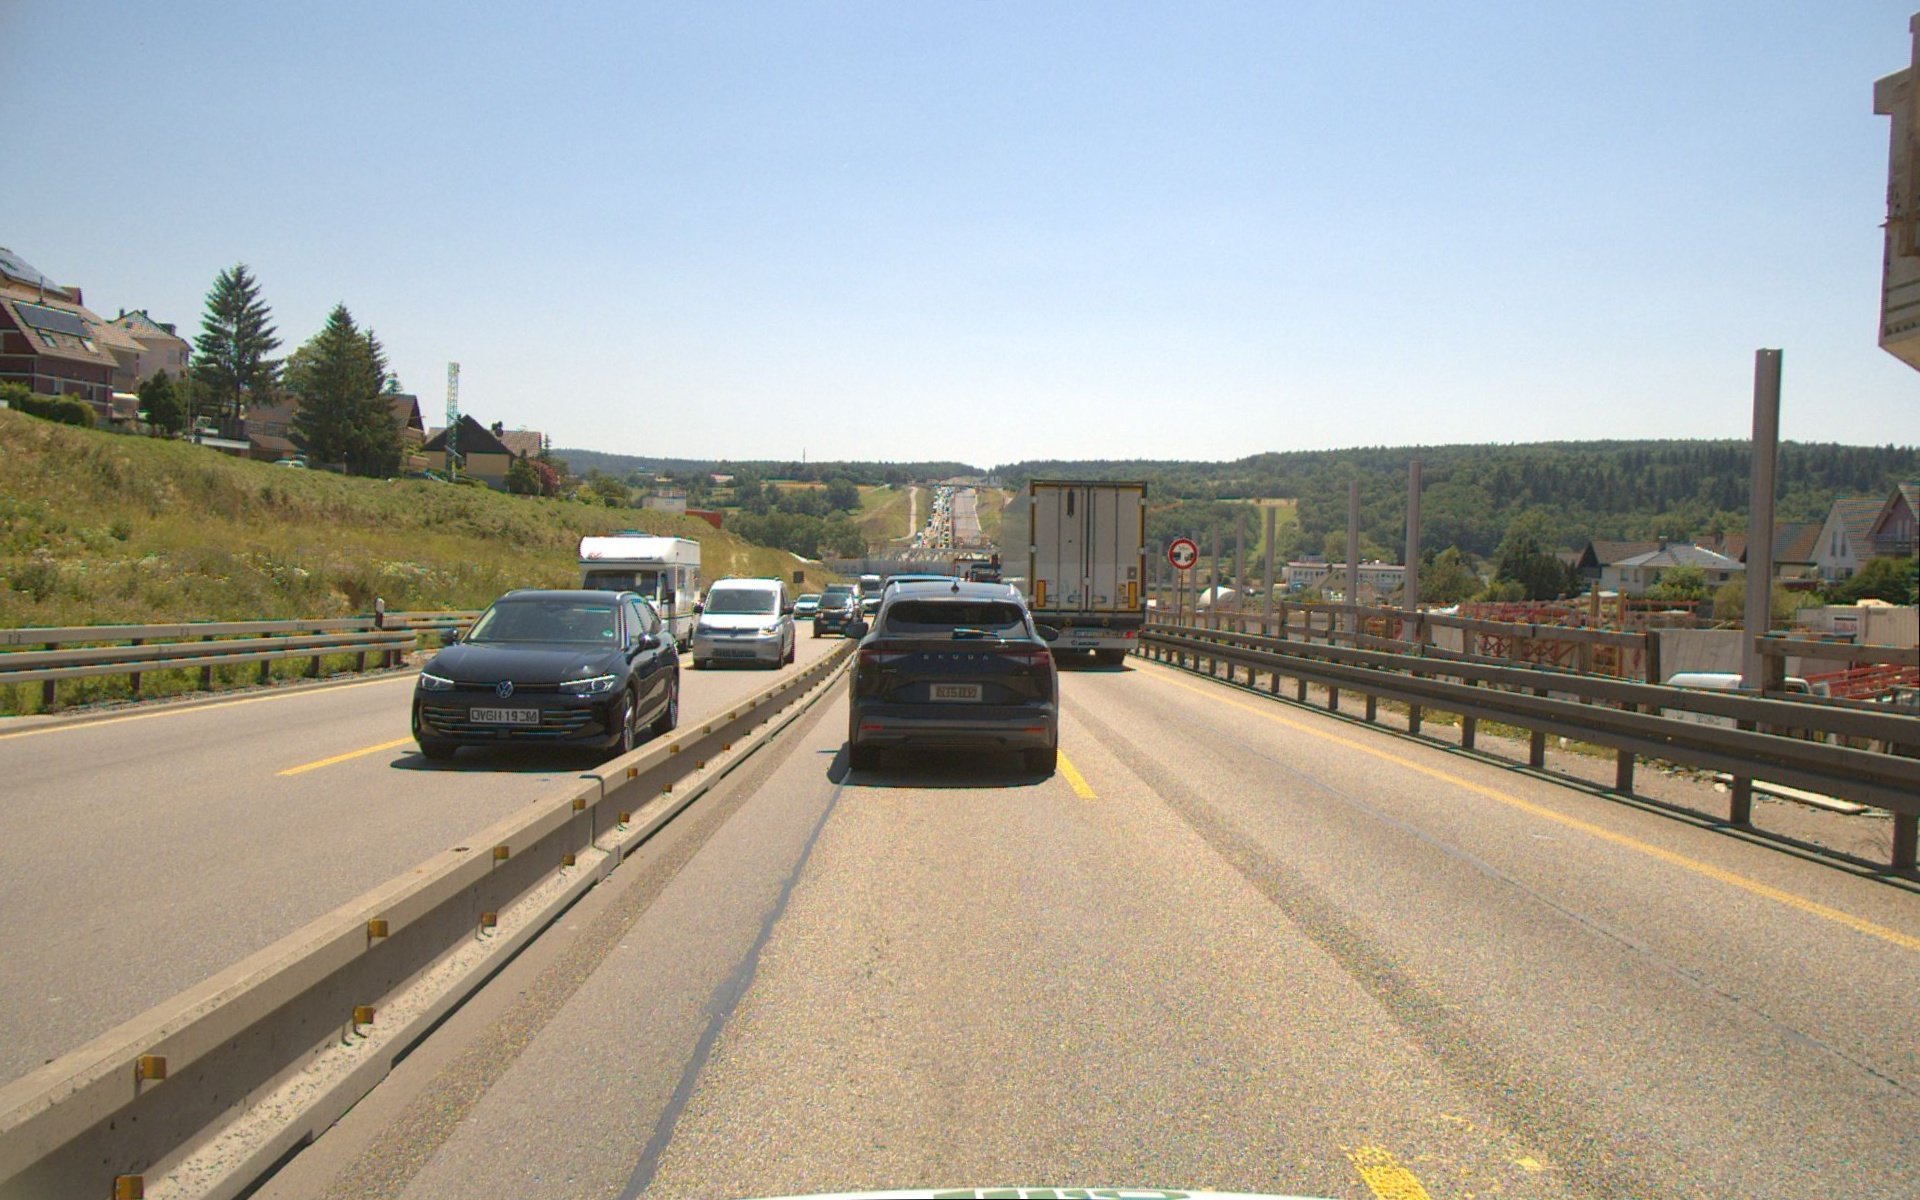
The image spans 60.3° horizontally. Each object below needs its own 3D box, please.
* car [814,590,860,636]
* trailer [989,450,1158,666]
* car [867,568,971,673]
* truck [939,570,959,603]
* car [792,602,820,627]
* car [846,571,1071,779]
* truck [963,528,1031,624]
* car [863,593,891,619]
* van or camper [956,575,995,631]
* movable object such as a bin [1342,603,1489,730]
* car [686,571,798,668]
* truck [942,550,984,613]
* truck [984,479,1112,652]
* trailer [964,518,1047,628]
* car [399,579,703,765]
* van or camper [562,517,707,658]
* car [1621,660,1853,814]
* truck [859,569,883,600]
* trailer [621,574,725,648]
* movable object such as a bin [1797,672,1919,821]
[{"bbox_3d":[-4.263,0.434,57.659,1.453,1.531,2.804,0,0,-1],"label":"car"},{"bbox_3d":[2.544,-0.952,41.984,3.116,4.592,13.105,1,0,-1],"label":"trailer"},{"bbox_3d":[-0.831,0.427,33.629,1.953,1.959,4.506,1,-1,-1],"label":"car"},{"bbox_3d":[-1.551,-1.776,226.734,2.586,4.267,9.281,1,-1,-1],"label":"truck"},{"bbox_3d":[-8.997,0.861,96.896,1.527,1.426,3.464,1,-1,-4],"label":"car"},{"bbox_3d":[-0.026,0.612,15.140,1.765,1.635,3.999,1,0,-1],"label":"car"},{"bbox_3d":[1.821,-1.121,84.539,3.116,4.592,8.163,1,-1,-1],"label":"truck"},{"bbox_3d":[-5.563,0.393,110.718,1.770,1.668,4.170,0,0,-2],"label":"car"},{"bbox_3d":[0.982,0.236,102.104,2.339,3.338,6.469,0,-1,1],"label":"van or camper"},{"bbox_3d":[18.477,2.608,67.866,3.162,4.826,9.652,1,-1,-1],"label":"movable object such as a bin"},{"bbox_3d":[-4.475,0.367,34.554,1.800,1.860,5.038,1,0,-2],"label":"car"},{"bbox_3d":[0.168,-1.303,127.290,2.794,4.543,11.912,1,-1,-2],"label":"truck"},{"bbox_3d":[2.427,-0.962,48.456,3.116,4.592,8.164,1,0,-1],"label":"truck"},{"bbox_3d":[1.945,-1.025,77.341,3.116,4.592,14.961,1,-1,-1],"label":"trailer"},{"bbox_3d":[-3.713,0.587,15.932,1.805,1.501,4.833,1,0,-1],"label":"car"},{"bbox_3d":[-7.774,-0.282,40.230,2.245,3.120,6.922,1,0,-1],"label":"van or camper"},{"bbox_3d":[16.905,2.853,36.511,2.100,2.906,7.024,1,-1,2],"label":"car"},{"bbox_3d":[-10.846,-1.911,202.549,2.723,3.737,6.275,1,0,-2],"label":"truck"},{"bbox_3d":[-7.924,0.275,46.142,2.059,1.927,5.140,1,0,-1],"label":"trailer"},{"bbox_3d":[19.665,2.936,34.274,2.100,2.723,5.502,1,-1,3],"label":"movable object such as a bin"}]
